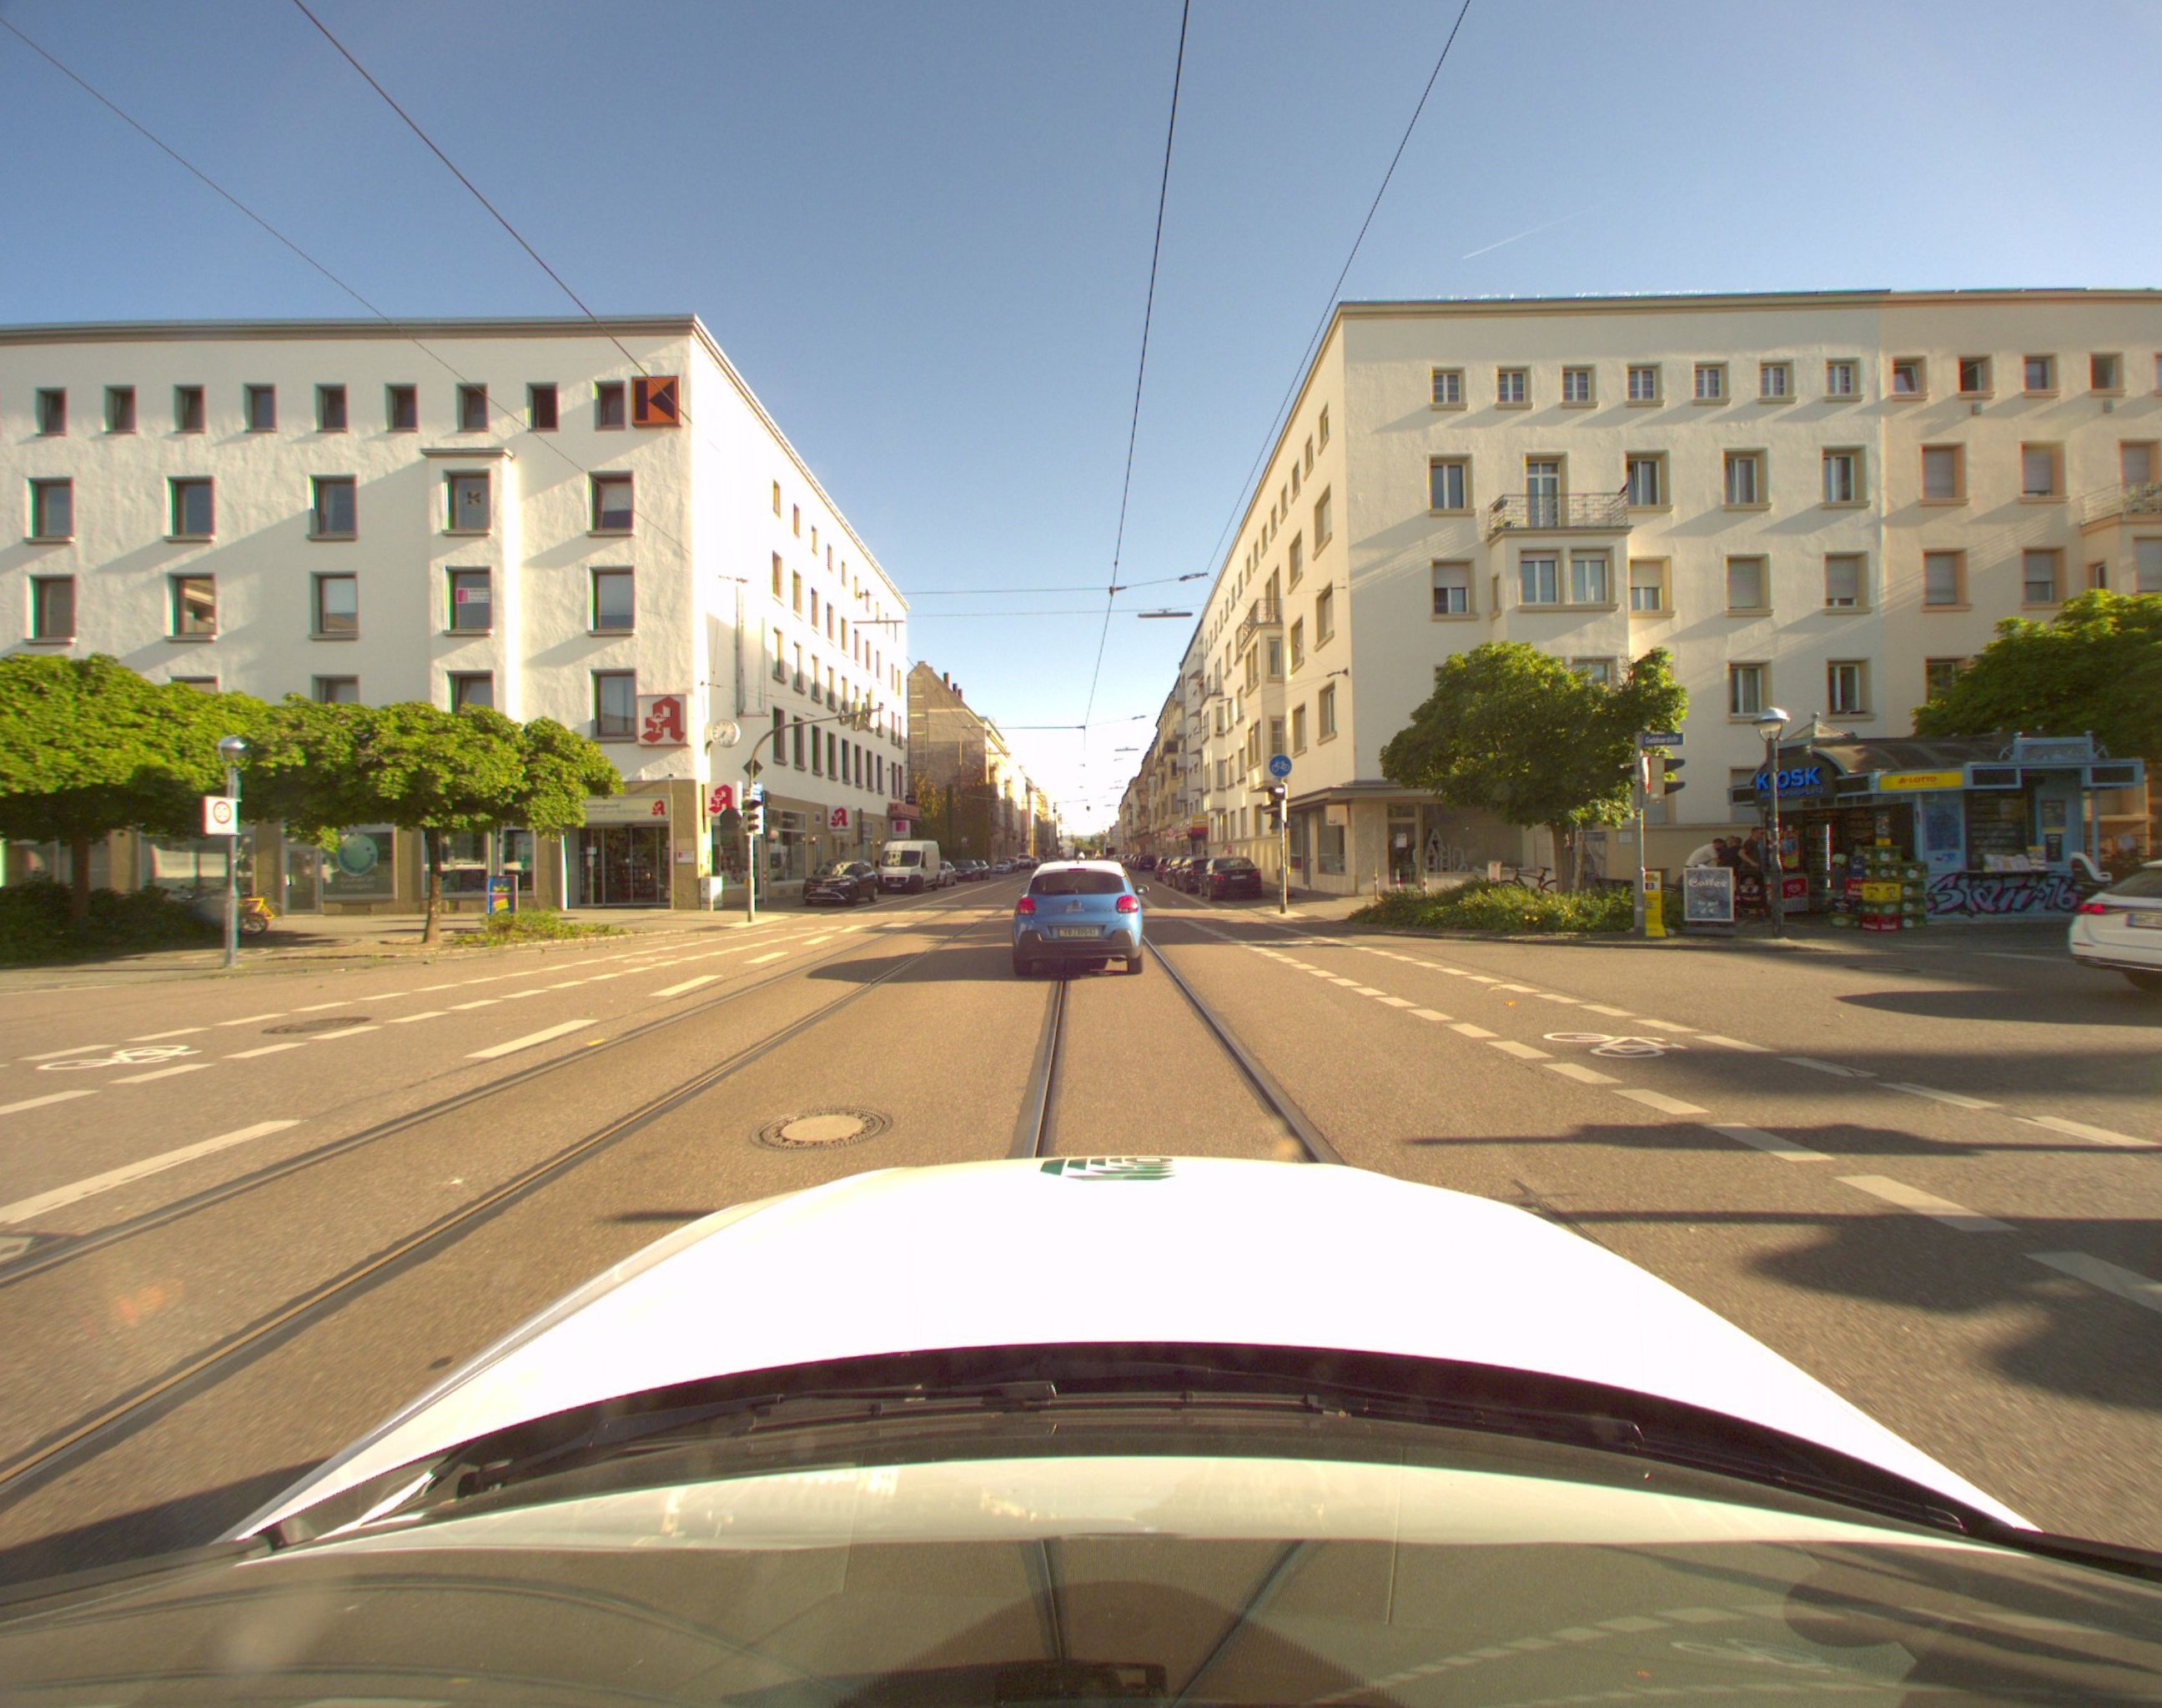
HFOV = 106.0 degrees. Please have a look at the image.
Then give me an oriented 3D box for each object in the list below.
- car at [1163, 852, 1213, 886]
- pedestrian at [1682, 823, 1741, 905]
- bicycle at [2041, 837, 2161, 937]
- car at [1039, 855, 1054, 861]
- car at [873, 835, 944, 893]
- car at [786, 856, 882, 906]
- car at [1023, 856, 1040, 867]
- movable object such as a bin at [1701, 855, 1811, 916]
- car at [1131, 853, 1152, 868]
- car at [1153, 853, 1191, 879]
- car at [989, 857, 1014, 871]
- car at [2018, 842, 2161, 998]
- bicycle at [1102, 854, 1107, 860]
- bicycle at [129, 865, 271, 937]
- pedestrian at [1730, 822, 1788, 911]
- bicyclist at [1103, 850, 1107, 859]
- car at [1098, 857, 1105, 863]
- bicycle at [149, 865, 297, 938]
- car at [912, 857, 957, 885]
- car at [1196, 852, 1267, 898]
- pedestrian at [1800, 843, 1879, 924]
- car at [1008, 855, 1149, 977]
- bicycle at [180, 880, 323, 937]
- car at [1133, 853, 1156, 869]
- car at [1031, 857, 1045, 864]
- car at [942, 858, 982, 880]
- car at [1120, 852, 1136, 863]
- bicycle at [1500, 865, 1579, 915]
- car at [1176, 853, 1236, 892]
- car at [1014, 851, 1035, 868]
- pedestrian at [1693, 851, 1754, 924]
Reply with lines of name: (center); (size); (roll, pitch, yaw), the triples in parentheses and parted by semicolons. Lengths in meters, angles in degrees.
car: (5.052, 0.702, 38.960); (1.986, 1.501, 4.002); (-1, 0, 2)
pedestrian: (14.350, 0.224, 18.561); (0.781, 1.839, 0.679); (-1, 0, 4)
bicycle: (16.892, 0.517, 12.969); (2.377, 1.531, 0.726); (1, 0, 0)
car: (-6.835, 0.802, 161.318); (1.981, 1.156, 4.528); (-1, 0, 11)
car: (-8.167, 0.458, 39.239); (2.079, 2.542, 6.205); (0, 0, 0)
car: (-8.616, 0.904, 28.877); (1.987, 1.569, 4.402); (2, -1, 0)
car: (-6.837, 1.015, 113.031); (1.946, 1.552, 3.942); (0, -1, 4)
movable object such as a bin: (13.526, 0.618, 16.368); (1.194, 1.153, 1.218); (-1, 0, 2)
car: (6.334, 0.660, 85.732); (1.986, 1.464, 4.002); (-1, 0, 2)
car: (5.437, 0.683, 49.195); (1.986, 1.464, 4.002); (-1, 0, 2)
car: (-7.756, 0.977, 79.746); (1.987, 1.325, 3.922); (0, -1, 0)
car: (12.496, 0.605, 7.710); (4.778, 1.464, 1.993); (0, 0, 3)
bicycle: (5.584, 0.728, 191.608); (0.916, 1.389, 3.135); (-1, 0, 4)
bicycle: (-21.410, 1.096, 19.890); (0.616, 1.607, 2.619); (-1, 0, 0)
pedestrian: (14.235, 0.261, 17.114); (0.650, 1.839, 0.660); (-1, 0, 4)
bicyclist: (5.594, 0.153, 191.670); (0.805, 2.014, 0.924); (0, -1, 6)
car: (6.384, 1.863, 253.402); (1.986, 1.772, 4.001); (-1, 0, 1)
bicycle: (-20.721, 1.090, 19.770); (0.615, 1.607, 2.624); (-1, 0, 6)
car: (-8.207, 0.938, 46.012); (1.882, 1.496, 3.561); (0, -1, 0)
car: (5.248, 0.694, 28.867); (1.902, 1.464, 4.002); (-1, 0, 2)
pedestrian: (13.884, 0.521, 14.922); (0.727, 1.409, 0.755); (-1, 3, 1)
car: (0.013, 0.767, 11.897); (1.722, 1.482, 3.827); (0, 0, 1)
bicycle: (-19.996, 1.270, 19.734); (0.615, 1.190, 2.623); (-1, 0, 5)
car: (6.100, 0.692, 78.158); (1.986, 1.464, 4.506); (-1, 0, 2)
car: (-6.891, 1.051, 130.648); (1.986, 1.156, 4.002); (-1, 0, 2)
car: (-7.924, 0.966, 54.605); (1.987, 1.398, 4.157); (0, -1, 0)
car: (6.250, 0.466, 109.223); (1.986, 1.464, 4.002); (-1, 0, 2)
bicycle: (10.549, 0.822, 18.766); (1.557, 1.120, 0.301); (0, -1, 12)
car: (5.154, 0.730, 34.015); (1.986, 1.464, 4.002); (-1, 0, 2)
car: (-7.136, 0.721, 103.417); (1.998, 2.014, 4.693); (0, -1, 3)
pedestrian: (11.962, 0.611, 15.184); (0.733, 1.316, 0.631); (-1, 0, 24)
